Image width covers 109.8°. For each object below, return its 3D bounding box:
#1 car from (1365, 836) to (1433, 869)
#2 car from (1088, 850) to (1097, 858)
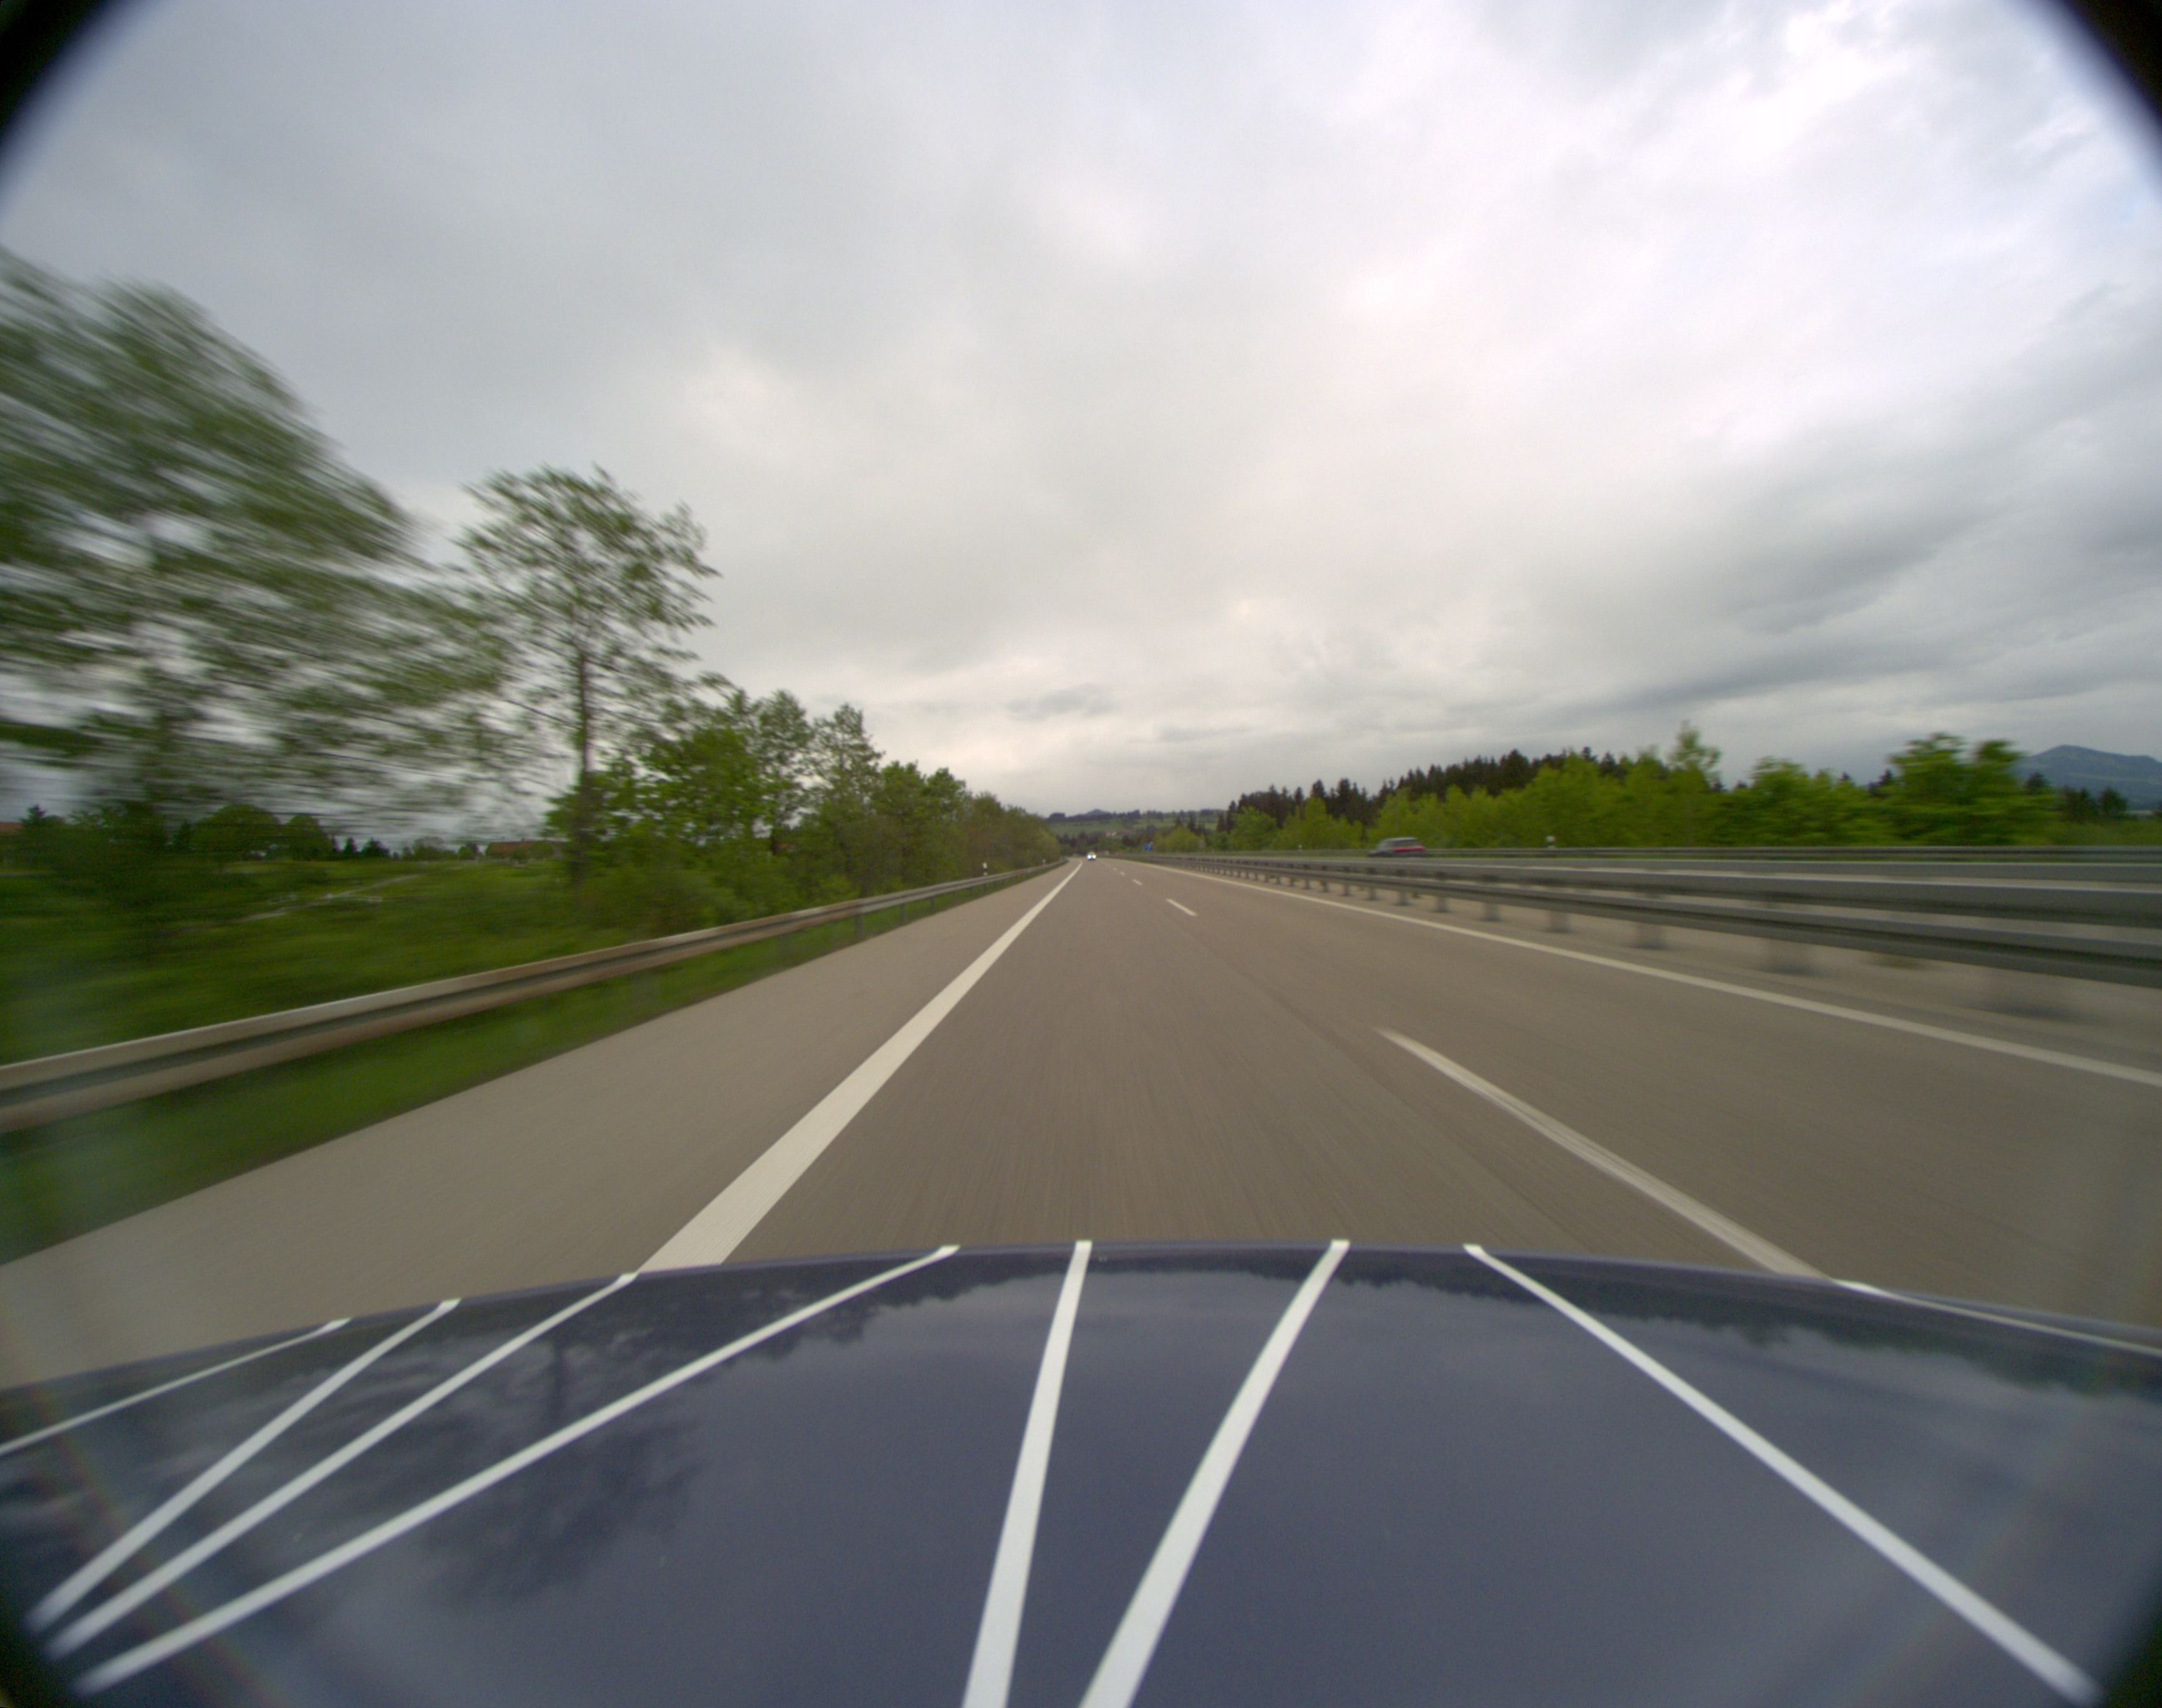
[{"bbox_3d":[17.275,-0.104,41.525,1.904,1.603,4.228,-3,1,1],"label":"car"},{"bbox_3d":[2.649,0.055,180.563,2.021,1.899,4.221,-3,0,1],"label":"car"}]
